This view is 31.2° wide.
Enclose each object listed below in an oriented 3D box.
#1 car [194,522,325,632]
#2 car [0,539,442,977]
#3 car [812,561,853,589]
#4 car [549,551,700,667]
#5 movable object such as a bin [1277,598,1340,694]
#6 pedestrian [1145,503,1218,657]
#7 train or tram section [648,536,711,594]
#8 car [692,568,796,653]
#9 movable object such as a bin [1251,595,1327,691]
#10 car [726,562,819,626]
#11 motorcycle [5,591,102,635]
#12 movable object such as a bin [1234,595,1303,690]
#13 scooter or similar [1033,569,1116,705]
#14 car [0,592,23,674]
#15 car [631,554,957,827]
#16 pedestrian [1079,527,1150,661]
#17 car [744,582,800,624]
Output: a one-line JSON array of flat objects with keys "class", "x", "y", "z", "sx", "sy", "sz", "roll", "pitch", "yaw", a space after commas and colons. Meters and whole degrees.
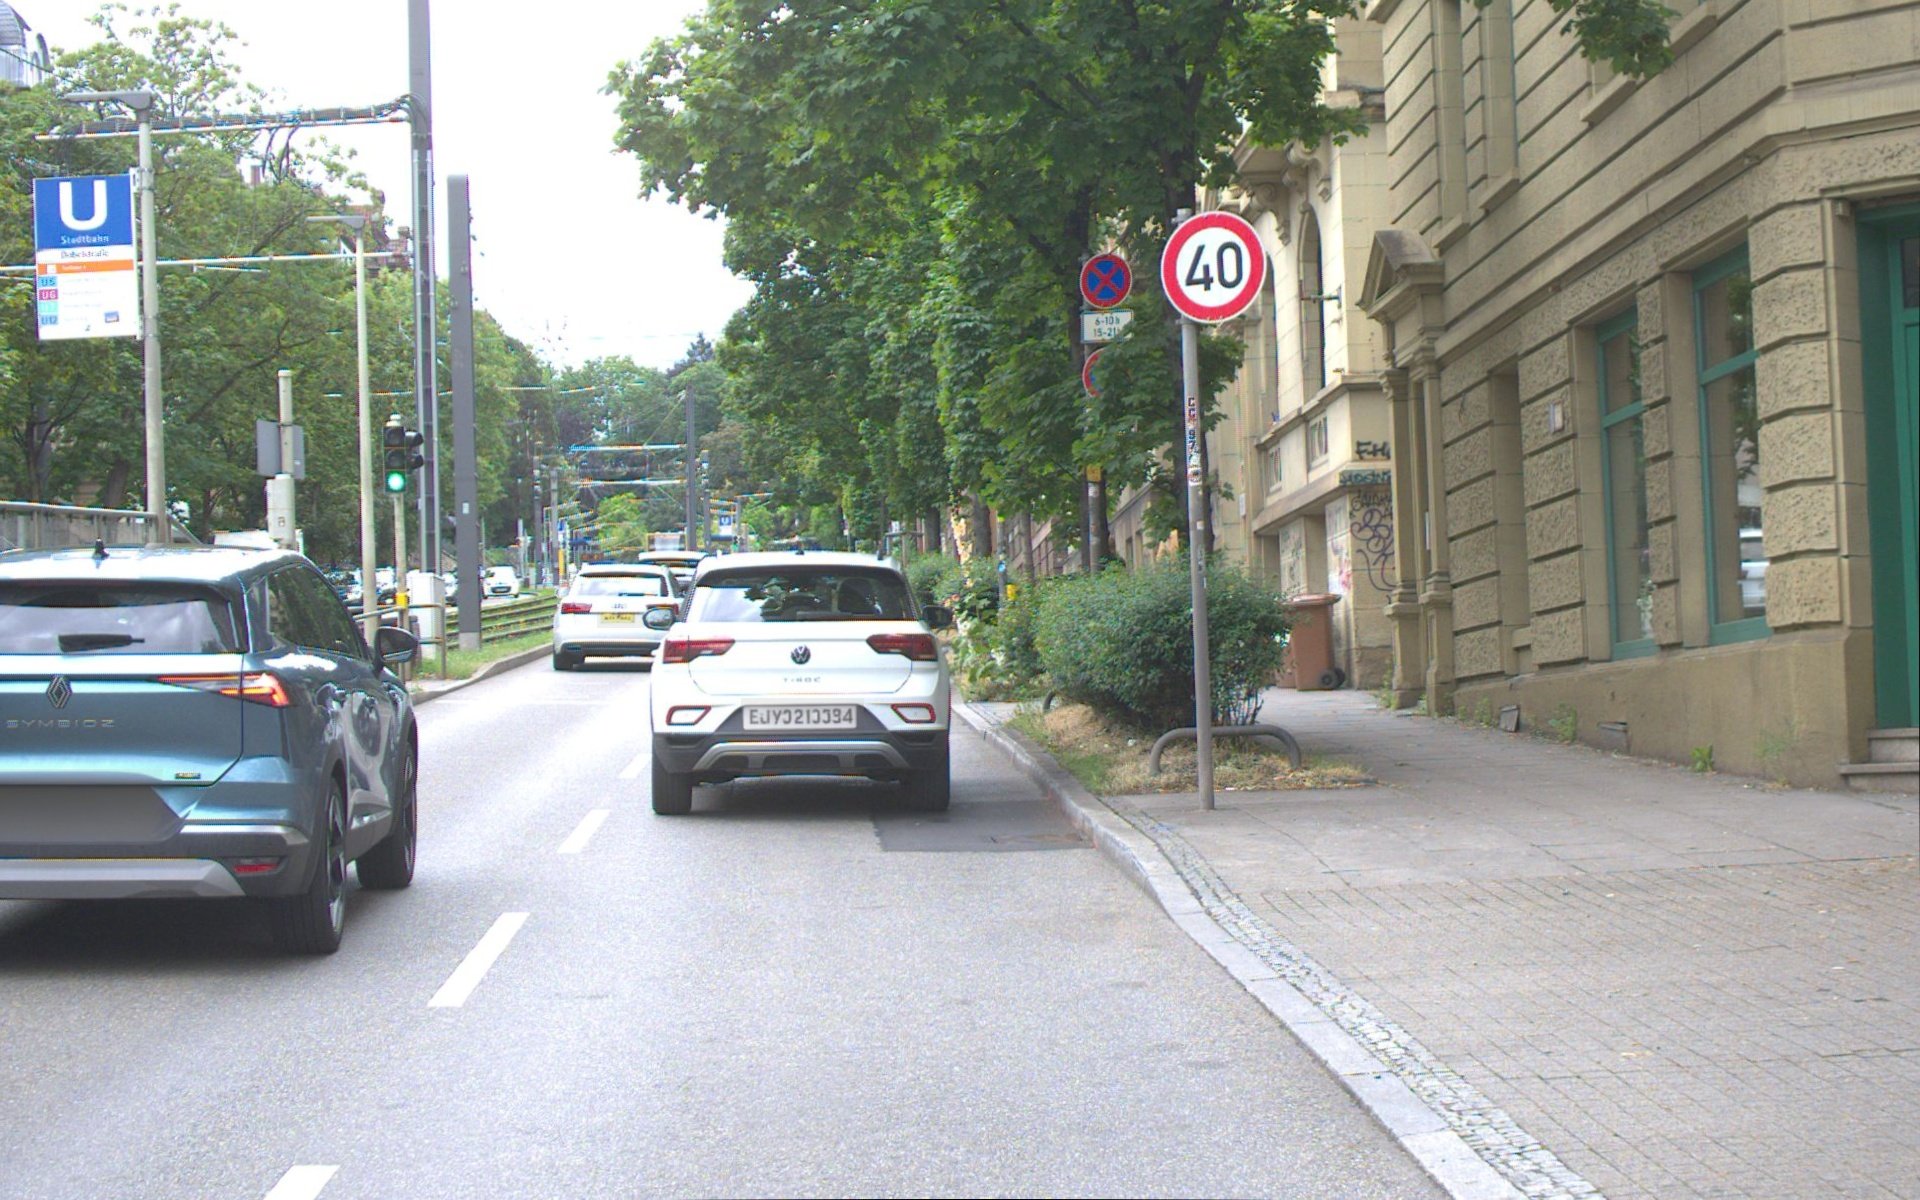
[{"class": "car", "x": -18.554, "y": -0.611, "z": 91.362, "sx": 2.392, "sy": 2.690, "sz": 6.519, "roll": -3, "pitch": 1, "yaw": -3}, {"class": "car", "x": -3.307, "y": 0.547, "z": 14.205, "sx": 1.835, "sy": 1.541, "sz": 4.194, "roll": 0, "pitch": 0, "yaw": -2}, {"class": "car", "x": -7.331, "y": -1.435, "z": 197.592, "sx": 2.068, "sy": 1.541, "sz": 4.194, "roll": 0, "pitch": 0, "yaw": -6}, {"class": "car", "x": -4.631, "y": 0.109, "z": 47.949, "sx": 1.835, "sy": 1.541, "sz": 4.194, "roll": 0, "pitch": 0, "yaw": -2}, {"class": "movable object such as a bin", "x": 3.399, "y": 0.445, "z": 33.512, "sx": 0.500, "sy": 0.916, "sz": 0.443, "roll": -1, "pitch": 1, "yaw": 17}, {"class": "pedestrian", "x": 2.693, "y": -0.240, "z": 41.926, "sx": 0.685, "sy": 1.823, "sz": 1.121, "roll": -3, "pitch": 0, "yaw": -2}, {"class": "train or tram section", "x": -17.056, "y": -2.107, "z": 209.820, "sx": 2.995, "sy": 3.337, "sz": 13.439, "roll": -1, "pitch": 0, "yaw": -1}, {"class": "car", "x": -4.019, "y": 0.186, "z": 64.537, "sx": 1.835, "sy": 1.541, "sz": 4.194, "roll": 0, "pitch": 0, "yaw": -2}, {"class": "movable object such as a bin", "x": 3.266, "y": 0.431, "z": 34.163, "sx": 0.500, "sy": 0.916, "sz": 0.493, "roll": -4, "pitch": 0, "yaw": -44}, {"class": "car", "x": -4.715, "y": -0.163, "z": 85.952, "sx": 2.068, "sy": 1.541, "sz": 4.194, "roll": 0, "pitch": 0, "yaw": -7}, {"class": "motorcycle", "x": -22.015, "y": 0.310, "z": 83.511, "sx": 2.199, "sy": 1.055, "sz": 0.625, "roll": 0, "pitch": 0, "yaw": -37}, {"class": "movable object such as a bin", "x": 3.116, "y": 0.422, "z": 34.748, "sx": 0.611, "sy": 0.916, "sz": 0.493, "roll": -3, "pitch": 0, "yaw": 0}, {"class": "scooter or similar", "x": 1.145, "y": 0.363, "z": 34.590, "sx": 0.662, "sy": 1.299, "sz": 1.384, "roll": -3, "pitch": 0, "yaw": -3}, {"class": "car", "x": -17.819, "y": 0.630, "z": 60.274, "sx": 1.678, "sy": 1.442, "sz": 4.218, "roll": -2, "pitch": 1, "yaw": -2}, {"class": "car", "x": -1.058, "y": 0.504, "z": 21.573, "sx": 1.835, "sy": 1.541, "sz": 4.194, "roll": 0, "pitch": 0, "yaw": -3}, {"class": "pedestrian", "x": 1.875, "y": -0.079, "z": 41.877, "sx": 0.685, "sy": 1.569, "sz": 1.216, "roll": -3, "pitch": 1, "yaw": -2}, {"class": "car", "x": -7.091, "y": 0.093, "z": 129.427, "sx": 2.068, "sy": 1.541, "sz": 4.194, "roll": 0, "pitch": 0, "yaw": -4}]
